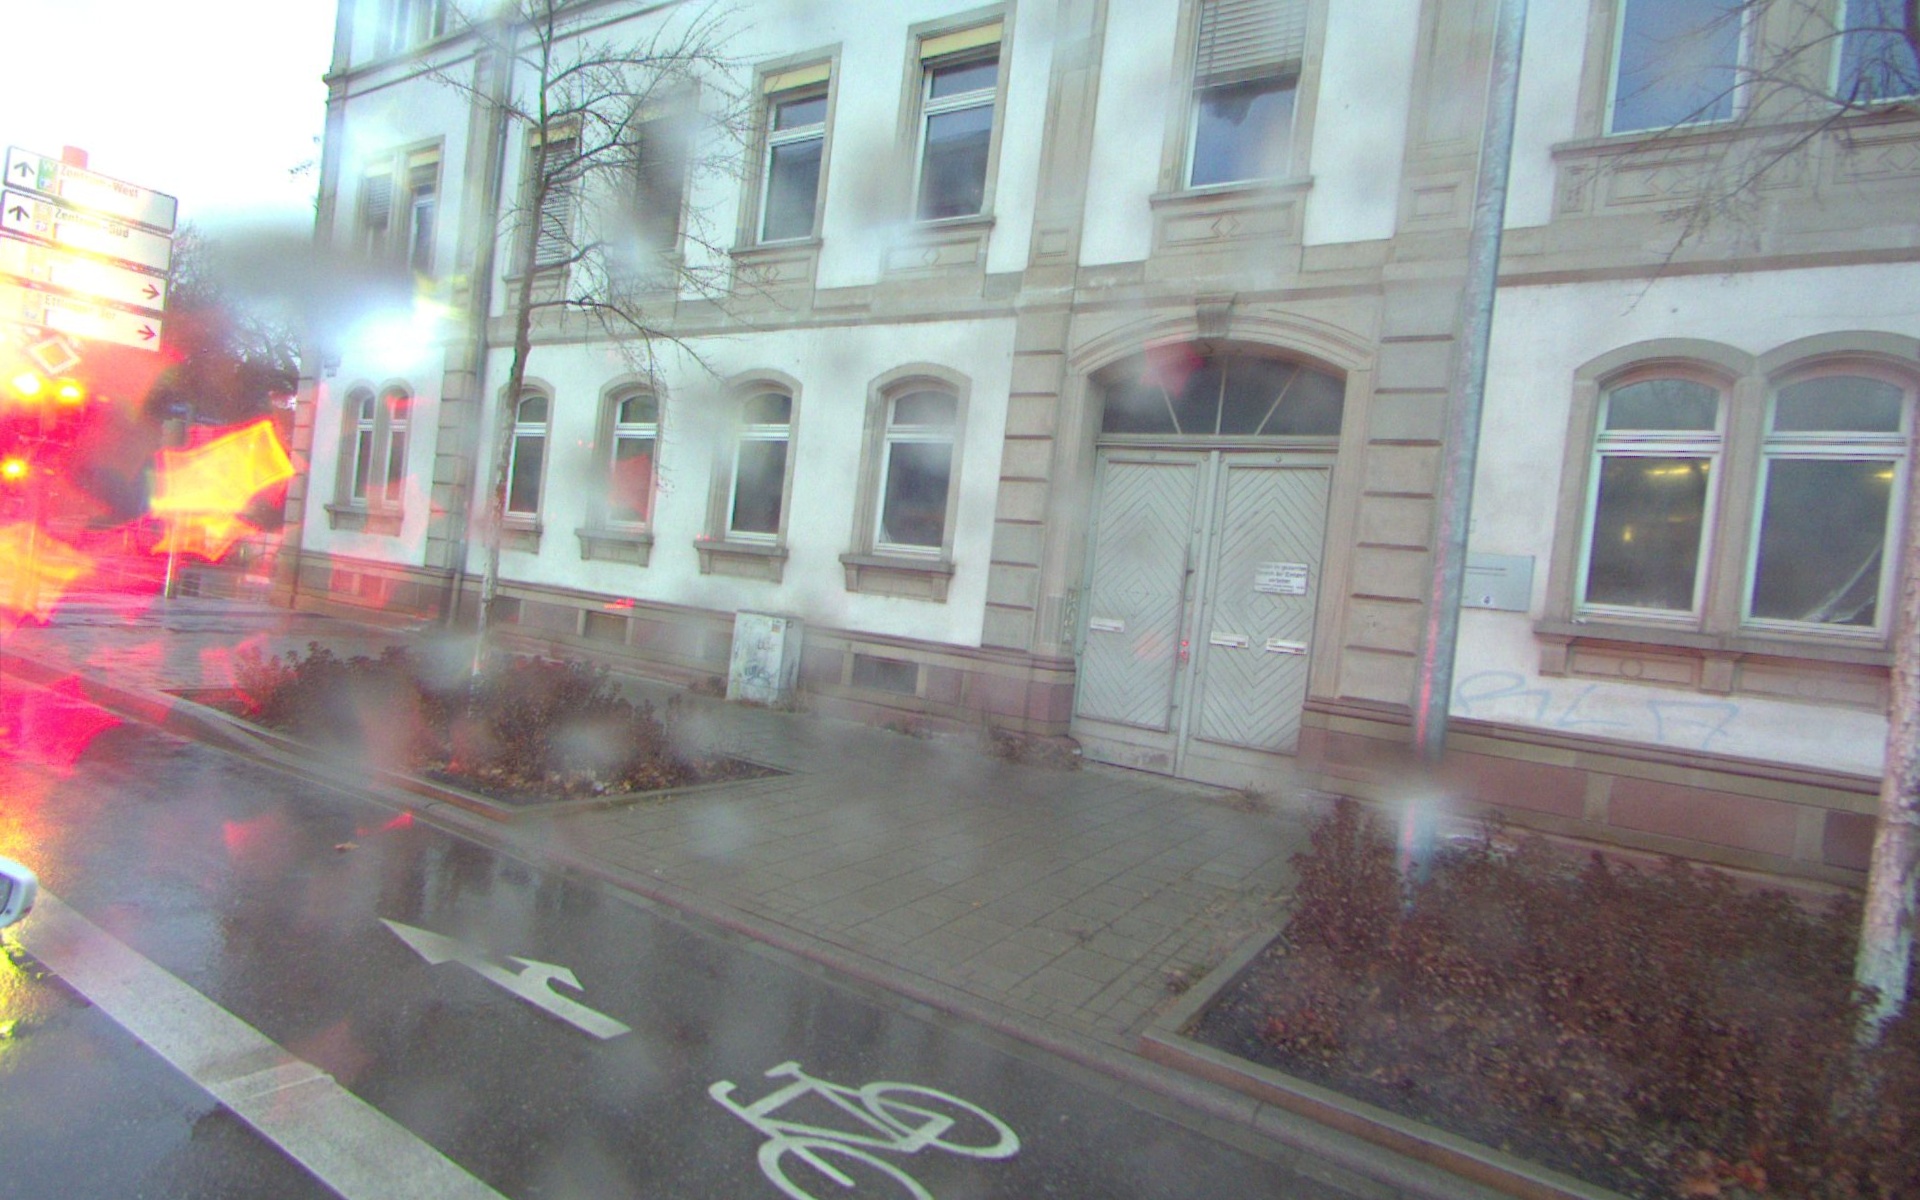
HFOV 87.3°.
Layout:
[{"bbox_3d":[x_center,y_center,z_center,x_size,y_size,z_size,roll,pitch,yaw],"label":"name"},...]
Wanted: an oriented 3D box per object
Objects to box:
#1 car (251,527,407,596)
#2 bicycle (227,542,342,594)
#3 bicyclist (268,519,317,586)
[{"bbox_3d":[-19.954,-1.184,31.893,3.937,1.571,1.732,9,-3,-37],"label":"car"},{"bbox_3d":[-19.667,-0.918,29.320,2.654,1.101,0.807,9,-3,-37],"label":"bicycle"},{"bbox_3d":[-19.523,-1.380,29.412,0.967,1.779,0.805,8,-2,-37],"label":"bicyclist"}]
